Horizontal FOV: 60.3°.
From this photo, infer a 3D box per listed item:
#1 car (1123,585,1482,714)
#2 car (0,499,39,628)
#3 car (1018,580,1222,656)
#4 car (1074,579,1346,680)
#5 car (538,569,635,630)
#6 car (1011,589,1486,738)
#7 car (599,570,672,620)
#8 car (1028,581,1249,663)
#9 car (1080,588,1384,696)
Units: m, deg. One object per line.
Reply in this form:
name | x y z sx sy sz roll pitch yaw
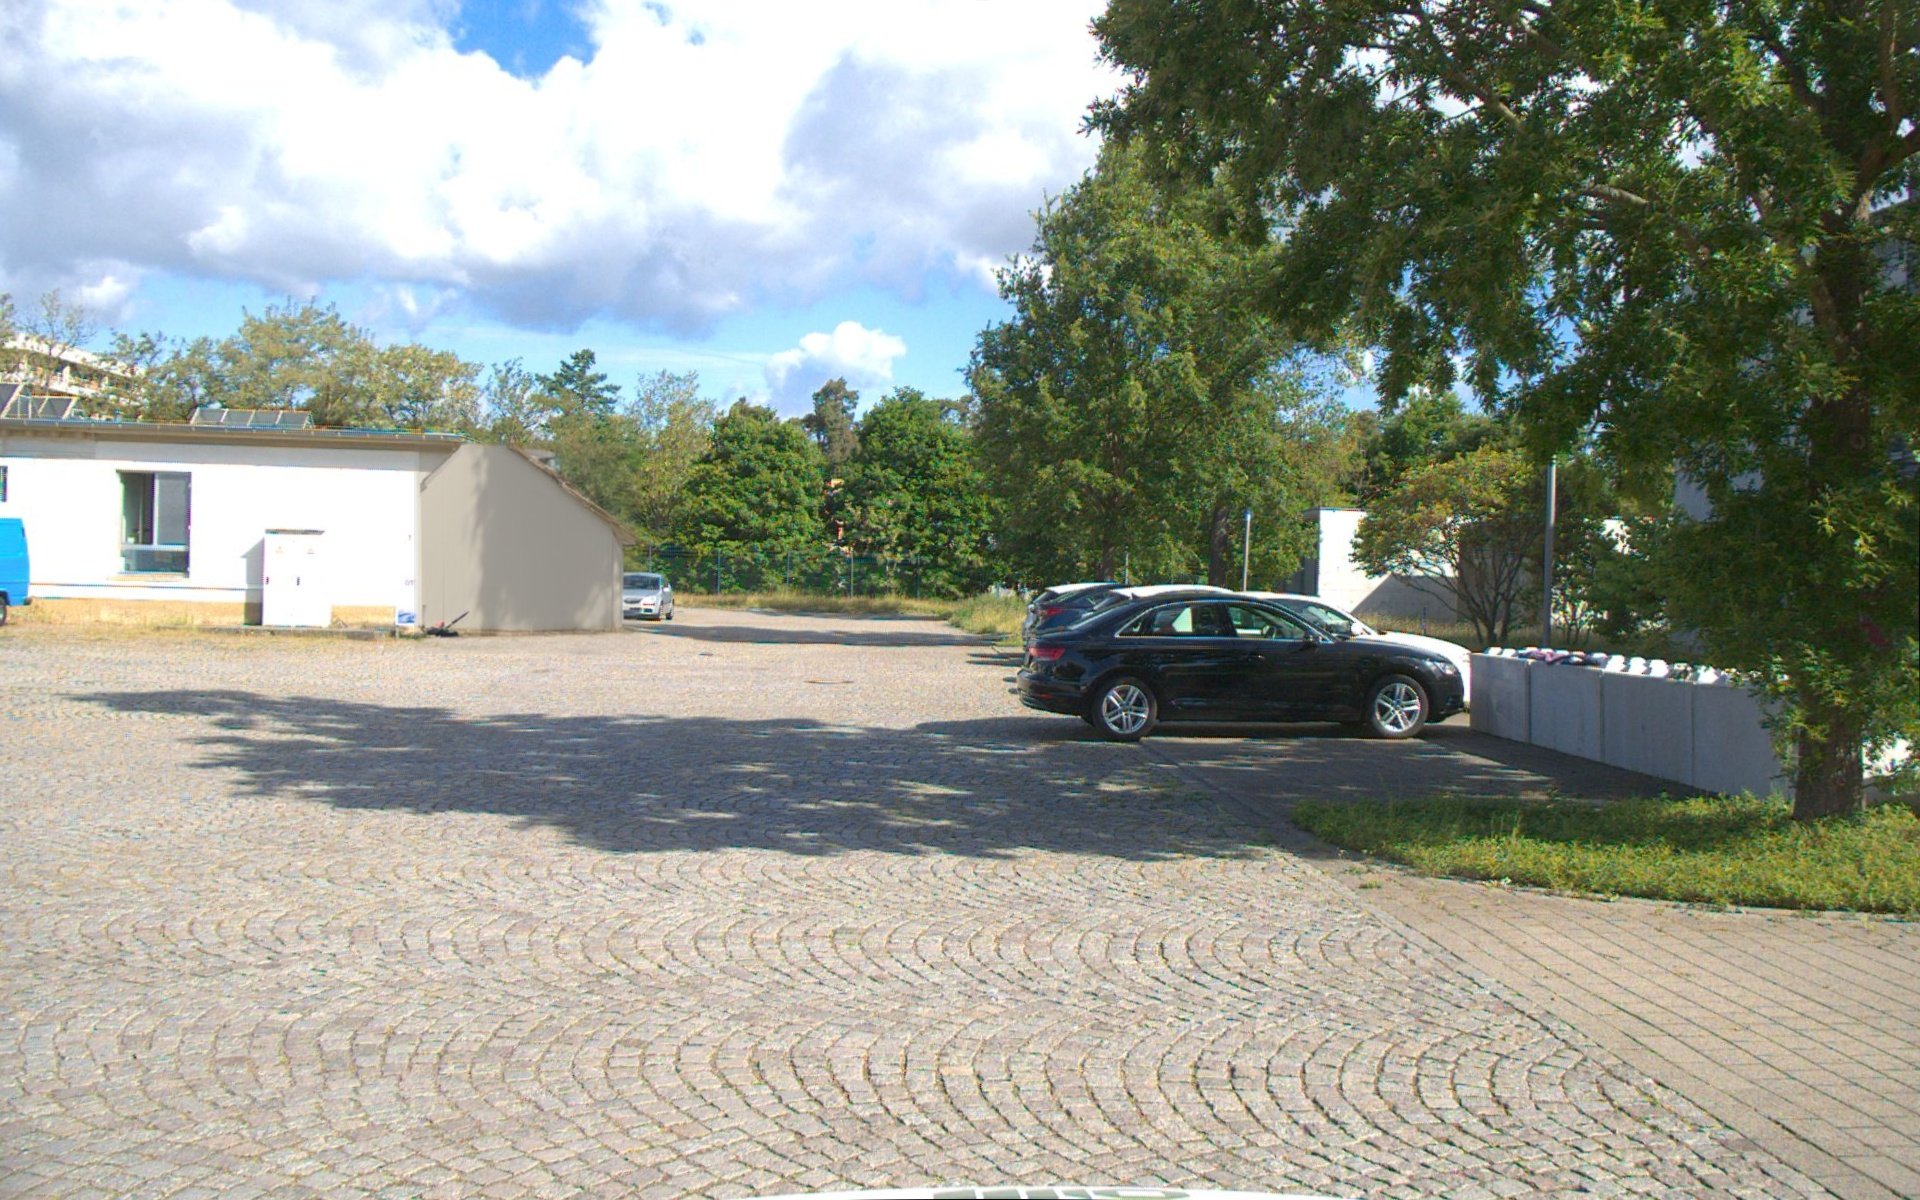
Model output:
car | 4.058 0.571 20.093 4.052 1.485 1.692 0 0 2
car | -19.756 -0.726 30.988 2.040 2.526 5.239 1 0 0
car | 3.139 0.329 32.917 3.834 1.460 1.795 0 0 -3
car | 3.738 0.418 25.122 3.834 1.472 1.755 0 0 -3
car | -9.764 -0.035 43.497 1.728 1.460 3.990 2 0 -2
car | 2.915 0.614 17.293 4.626 1.448 1.756 0 0 -4
car | -10.365 -0.174 53.055 1.653 1.460 3.985 2 0 -2
car | 3.216 0.380 30.265 3.834 1.442 1.692 0 0 -3
car | 3.636 0.542 22.531 3.834 1.396 1.727 0 0 -3
